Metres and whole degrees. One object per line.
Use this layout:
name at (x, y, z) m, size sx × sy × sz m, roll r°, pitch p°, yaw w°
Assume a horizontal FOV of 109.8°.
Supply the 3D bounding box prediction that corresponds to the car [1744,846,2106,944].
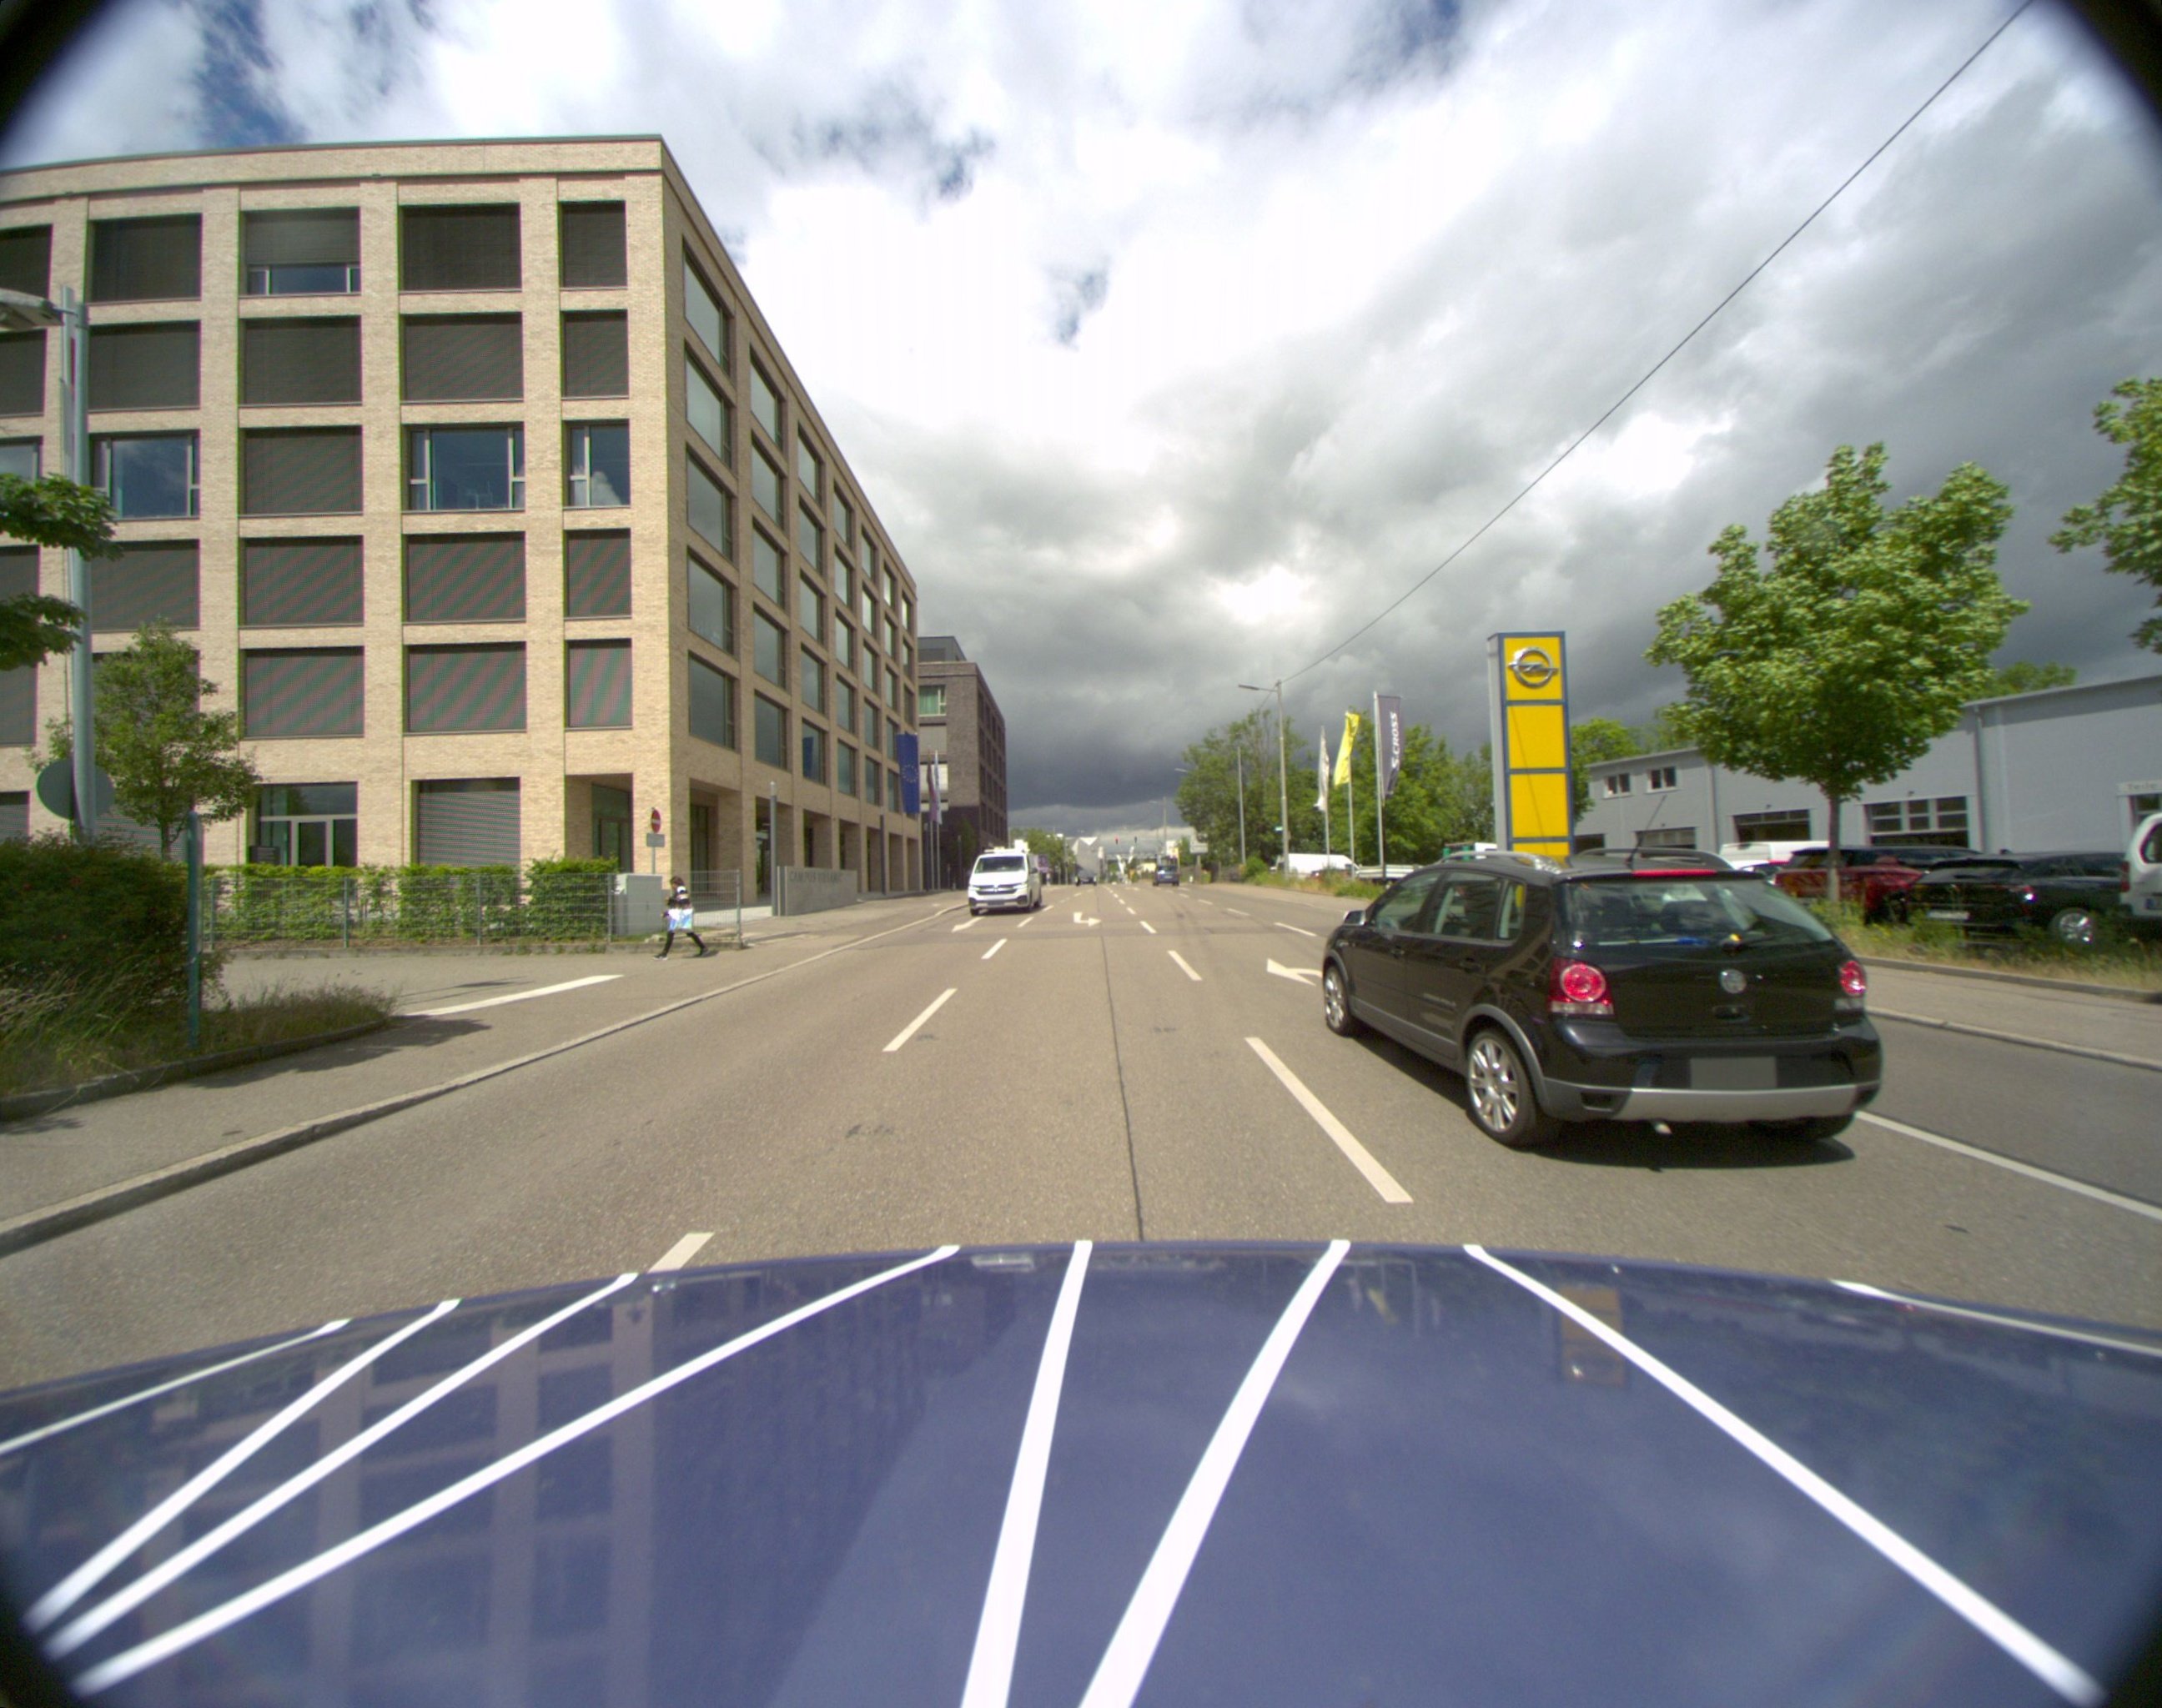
car at (14.684, 0.717, 13.464) m, size 3.996 × 1.482 × 2.001 m, roll -2°, pitch -2°, yaw 4°

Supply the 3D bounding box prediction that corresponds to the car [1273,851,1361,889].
car at (13.236, 0.922, 42.853) m, size 4.171 × 2.001 × 2.199 m, roll -2°, pitch -2°, yaw -1°

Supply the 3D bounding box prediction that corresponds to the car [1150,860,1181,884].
car at (6.018, 1.275, 54.767) m, size 1.748 × 1.586 × 4.042 m, roll 1°, pitch -1°, yaw 0°

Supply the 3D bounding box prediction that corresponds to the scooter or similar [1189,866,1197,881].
scooter or similar at (9.471, 1.665, 64.396) m, size 0.536 × 1.258 × 1.473 m, roll -3°, pitch -2°, yaw 6°

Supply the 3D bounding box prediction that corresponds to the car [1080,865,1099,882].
car at (0.766, 1.800, 70.401) m, size 1.726 × 1.394 × 4.207 m, roll -1°, pitch 0°, yaw 0°

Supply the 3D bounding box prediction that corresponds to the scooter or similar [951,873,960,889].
scooter or similar at (-9.249, 1.998, 56.117) m, size 0.428 × 1.146 × 1.404 m, roll -1°, pitch -1°, yaw 1°

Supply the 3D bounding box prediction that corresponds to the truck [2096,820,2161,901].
truck at (32.833, 0.139, 21.798) m, size 6.319 × 2.216 × 2.697 m, roll -1°, pitch 0°, yaw -19°

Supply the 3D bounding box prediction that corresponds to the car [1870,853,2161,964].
car at (14.834, 0.751, 11.387) m, size 3.997 × 1.401 × 1.928 m, roll -2°, pitch 0°, yaw 0°

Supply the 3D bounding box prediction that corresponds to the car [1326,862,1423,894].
car at (14.396, 1.166, 37.438) m, size 4.042 × 1.378 × 1.929 m, roll -2°, pitch 0°, yaw 4°

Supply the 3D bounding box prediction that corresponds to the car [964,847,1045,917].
car at (-2.378, 0.842, 24.739) m, size 1.935 × 2.078 × 4.209 m, roll 0°, pitch 0°, yaw 4°

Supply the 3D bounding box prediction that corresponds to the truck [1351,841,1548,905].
truck at (13.065, 0.648, 27.257) m, size 5.877 × 2.135 × 2.476 m, roll -1°, pitch 0°, yaw -2°

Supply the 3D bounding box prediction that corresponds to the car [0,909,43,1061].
car at (-12.888, 1.313, 6.799) m, size 4.443 × 1.473 × 2.000 m, roll 0°, pitch 0°, yaw 0°

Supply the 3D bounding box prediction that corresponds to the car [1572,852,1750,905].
car at (17.781, 0.754, 23.422) m, size 4.089 × 1.513 × 1.827 m, roll 1°, pitch -2°, yaw 0°

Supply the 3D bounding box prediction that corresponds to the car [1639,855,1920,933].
car at (14.359, 0.783, 15.812) m, size 3.997 × 1.401 × 2.000 m, roll -2°, pitch 0°, yaw 0°

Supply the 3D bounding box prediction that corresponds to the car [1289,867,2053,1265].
car at (2.946, 0.878, 5.168) m, size 1.834 × 1.500 × 4.276 m, roll -1°, pitch 0°, yaw -1°

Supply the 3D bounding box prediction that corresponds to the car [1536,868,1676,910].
car at (18.715, 1.218, 27.180) m, size 3.832 × 1.320 × 1.646 m, roll -2°, pitch 0°, yaw 1°

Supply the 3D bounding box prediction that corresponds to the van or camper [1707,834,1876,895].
van or camper at (29.522, 0.449, 31.604) m, size 5.906 × 2.341 × 2.500 m, roll -1°, pitch -2°, yaw -18°

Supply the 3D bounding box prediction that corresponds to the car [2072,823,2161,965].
car at (14.916, 0.408, 8.854) m, size 3.997 × 1.695 × 2.001 m, roll -2°, pitch -2°, yaw 1°

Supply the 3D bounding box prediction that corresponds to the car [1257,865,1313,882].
car at (17.194, 1.621, 64.118) m, size 4.285 × 1.372 × 1.867 m, roll -1°, pitch -1°, yaw 6°

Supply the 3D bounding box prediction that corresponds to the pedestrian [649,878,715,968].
pedestrian at (-7.083, 1.198, 13.516) m, size 0.689 × 1.526 × 0.856 m, roll -1°, pitch -1°, yaw 1°

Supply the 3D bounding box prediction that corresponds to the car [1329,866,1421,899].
car at (13.472, 1.299, 34.980) m, size 3.553 × 1.317 × 1.711 m, roll -2°, pitch 0°, yaw 4°

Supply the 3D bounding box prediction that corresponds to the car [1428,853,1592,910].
car at (13.008, 0.835, 23.198) m, size 3.996 × 1.579 × 1.754 m, roll 1°, pitch -2°, yaw 2°
